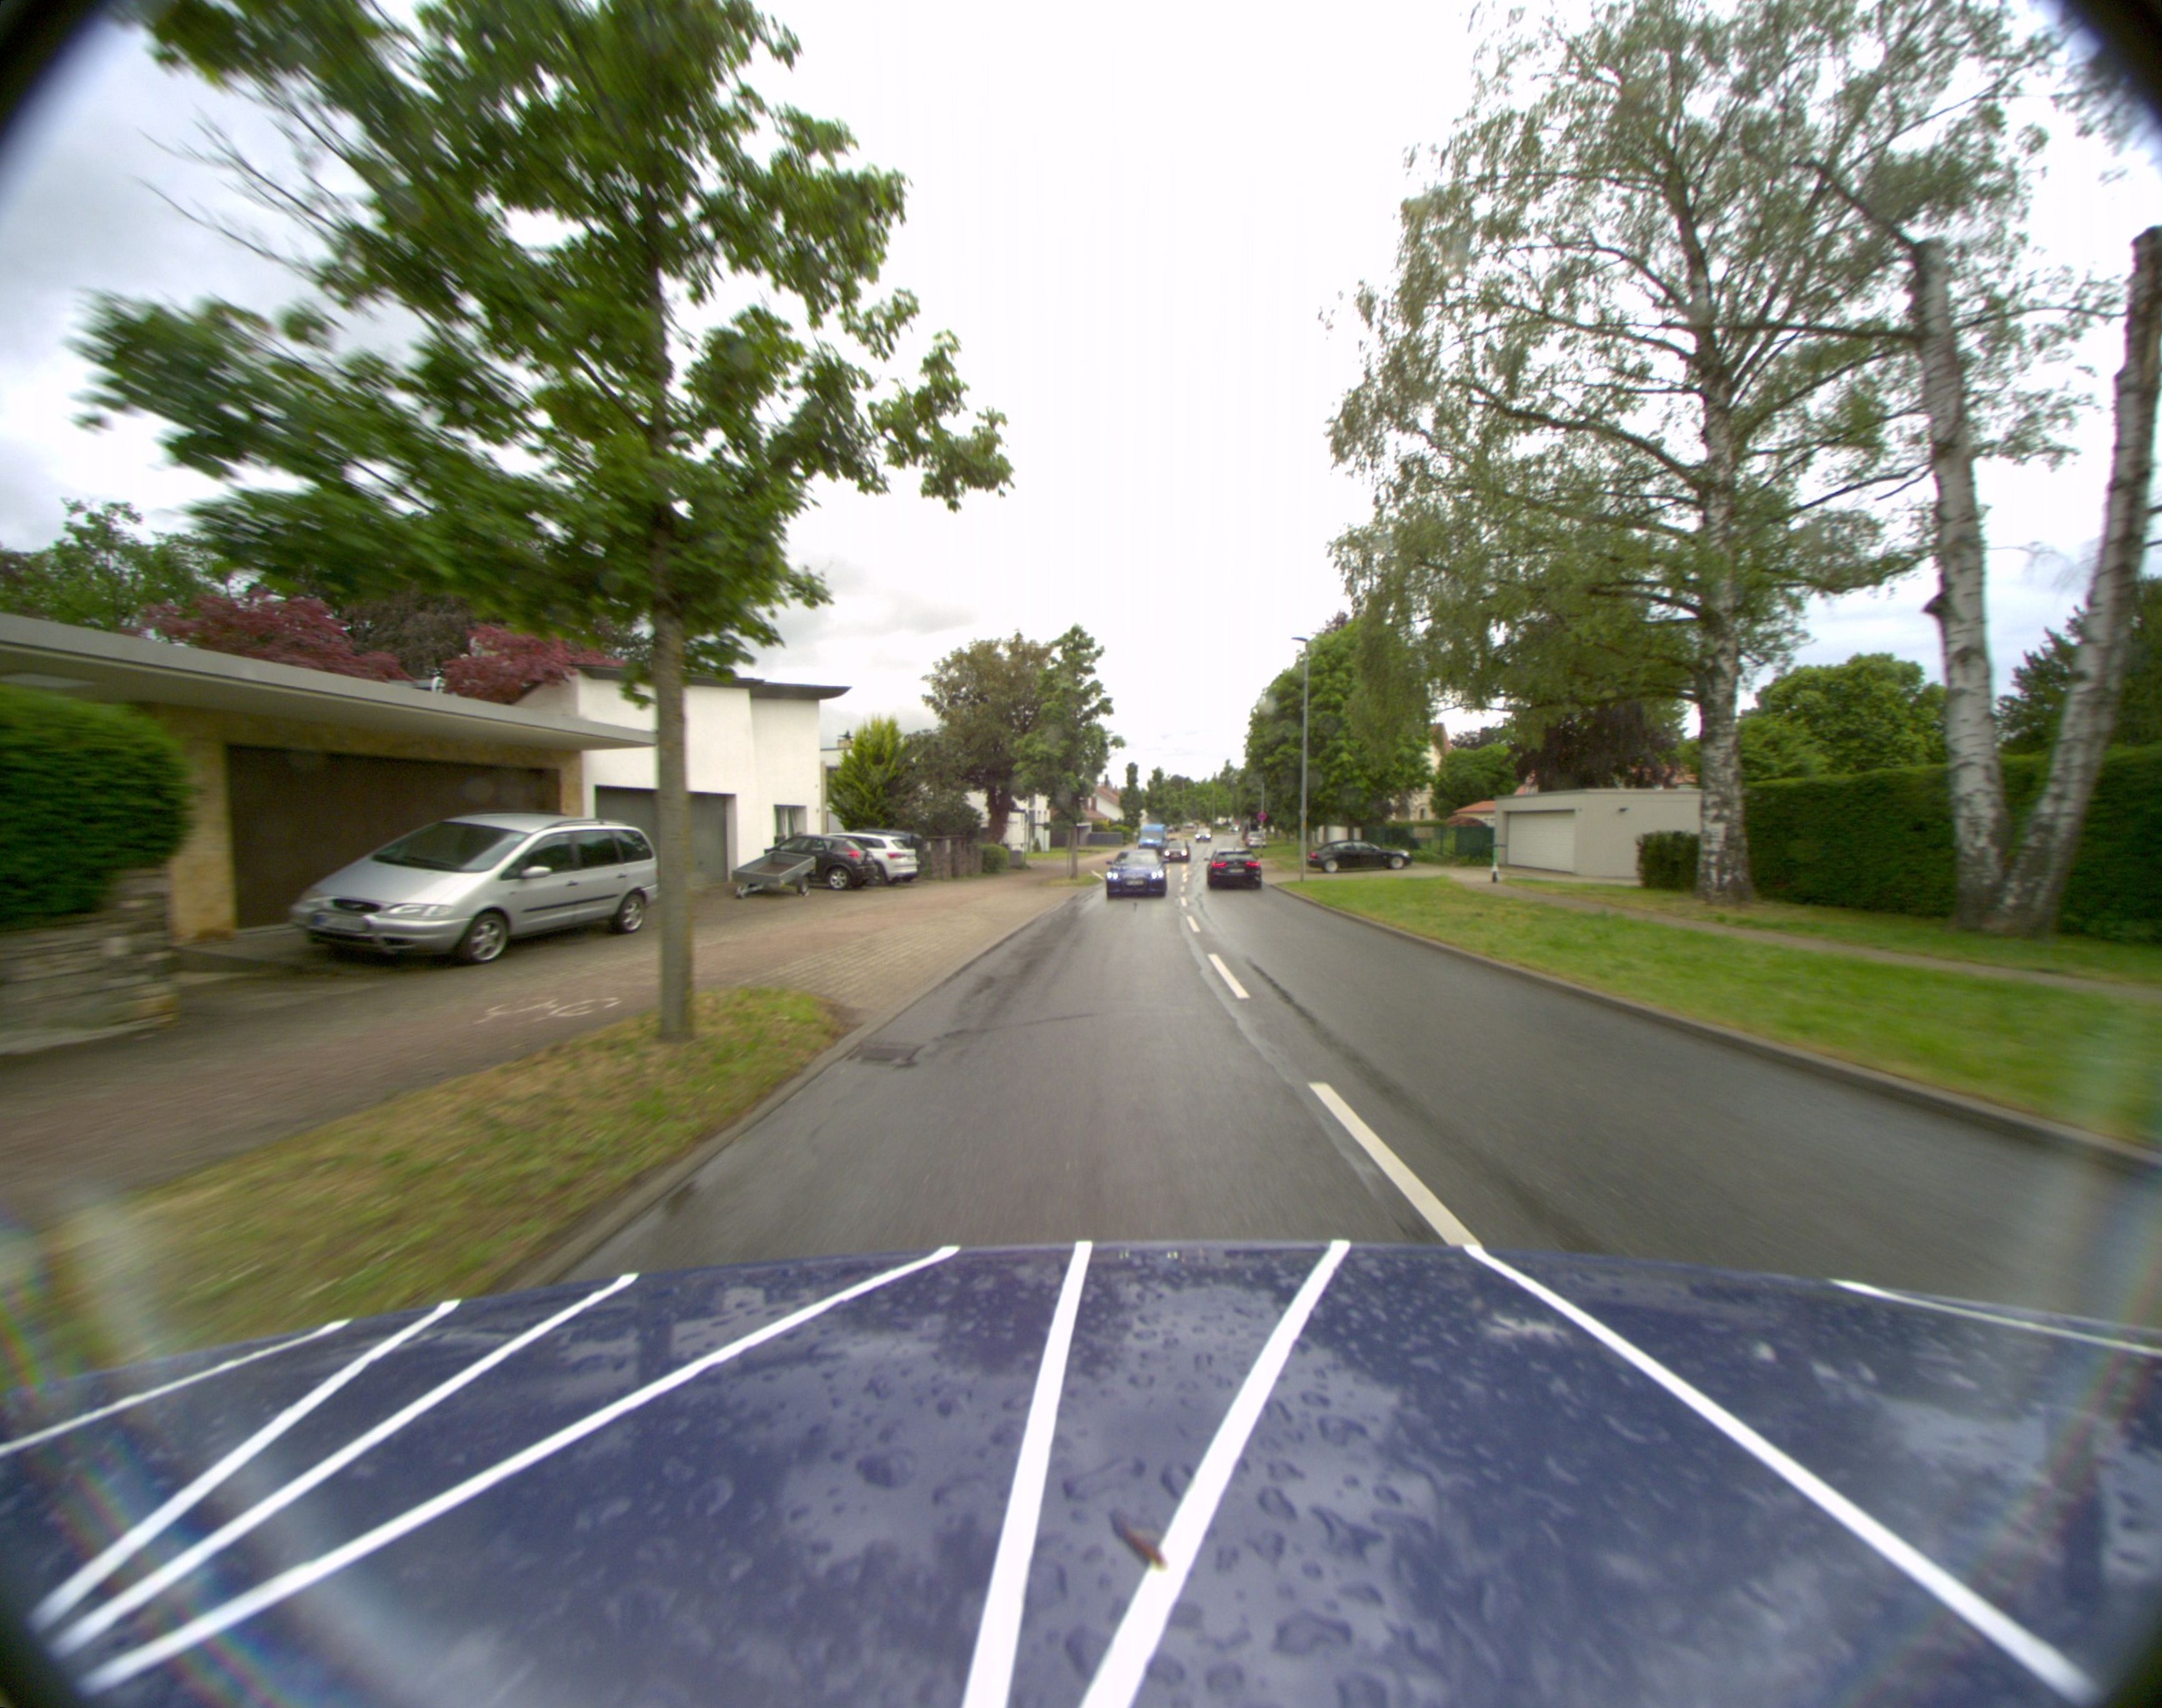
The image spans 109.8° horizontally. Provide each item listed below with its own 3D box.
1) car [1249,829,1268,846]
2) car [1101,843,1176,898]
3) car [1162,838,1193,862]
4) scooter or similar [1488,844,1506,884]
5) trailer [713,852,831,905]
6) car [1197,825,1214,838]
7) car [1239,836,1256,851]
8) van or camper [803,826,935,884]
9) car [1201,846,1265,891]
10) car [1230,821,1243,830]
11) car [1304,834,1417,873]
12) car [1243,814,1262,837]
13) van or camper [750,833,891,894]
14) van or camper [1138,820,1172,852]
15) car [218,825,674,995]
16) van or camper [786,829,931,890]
[{"bbox_3d":[17.548,-1.670,74.997,1.773,1.598,4.002,0,3,14],"label":"car"},{"bbox_3d":[1.980,0.475,24.804,1.894,1.532,4.002,-2,2,12],"label":"car"},{"bbox_3d":[6.908,-0.315,54.191,1.845,1.532,4.002,-2,2,11],"label":"car"},{"bbox_3d":[12.539,0.277,22.891,0.424,1.152,1.492,-1,1,31],"label":"scooter or similar"},{"bbox_3d":[-7.532,0.554,18.824,1.423,0.916,3.274,7,3,2],"label":"trailer"},{"bbox_3d":[16.012,-2.871,97.631,1.894,1.532,4.003,-2,2,13],"label":"car"},{"bbox_3d":[17.596,-1.132,80.207,1.704,1.316,3.845,-2,2,14],"label":"car"},{"bbox_3d":[-7.539,-0.001,27.232,4.020,1.778,1.948,4,2,9],"label":"van or camper"},{"bbox_3d":[5.446,0.471,27.685,1.758,1.432,4.158,-2,1,4],"label":"car"},{"bbox_3d":[27.745,-5.105,135.495,1.893,1.532,4.003,-2,2,14],"label":"car"},{"bbox_3d":[12.409,-0.042,33.972,4.435,1.409,1.756,-3,2,11],"label":"car"},{"bbox_3d":[22.092,-3.670,97.529,2.245,2.823,5.047,-1,3,14],"label":"car"},{"bbox_3d":[-7.467,0.240,21.962,3.410,1.547,1.769,2,2,2],"label":"van or camper"},{"bbox_3d":[6.320,-1.587,64.154,2.146,2.595,5.784,2,3,12],"label":"van or camper"},{"bbox_3d":[-7.858,0.521,10.281,1.798,1.747,4.943,0,1,3],"label":"car"},{"bbox_3d":[-7.215,0.141,24.893,3.994,1.668,2.124,4,2,7],"label":"van or camper"}]
